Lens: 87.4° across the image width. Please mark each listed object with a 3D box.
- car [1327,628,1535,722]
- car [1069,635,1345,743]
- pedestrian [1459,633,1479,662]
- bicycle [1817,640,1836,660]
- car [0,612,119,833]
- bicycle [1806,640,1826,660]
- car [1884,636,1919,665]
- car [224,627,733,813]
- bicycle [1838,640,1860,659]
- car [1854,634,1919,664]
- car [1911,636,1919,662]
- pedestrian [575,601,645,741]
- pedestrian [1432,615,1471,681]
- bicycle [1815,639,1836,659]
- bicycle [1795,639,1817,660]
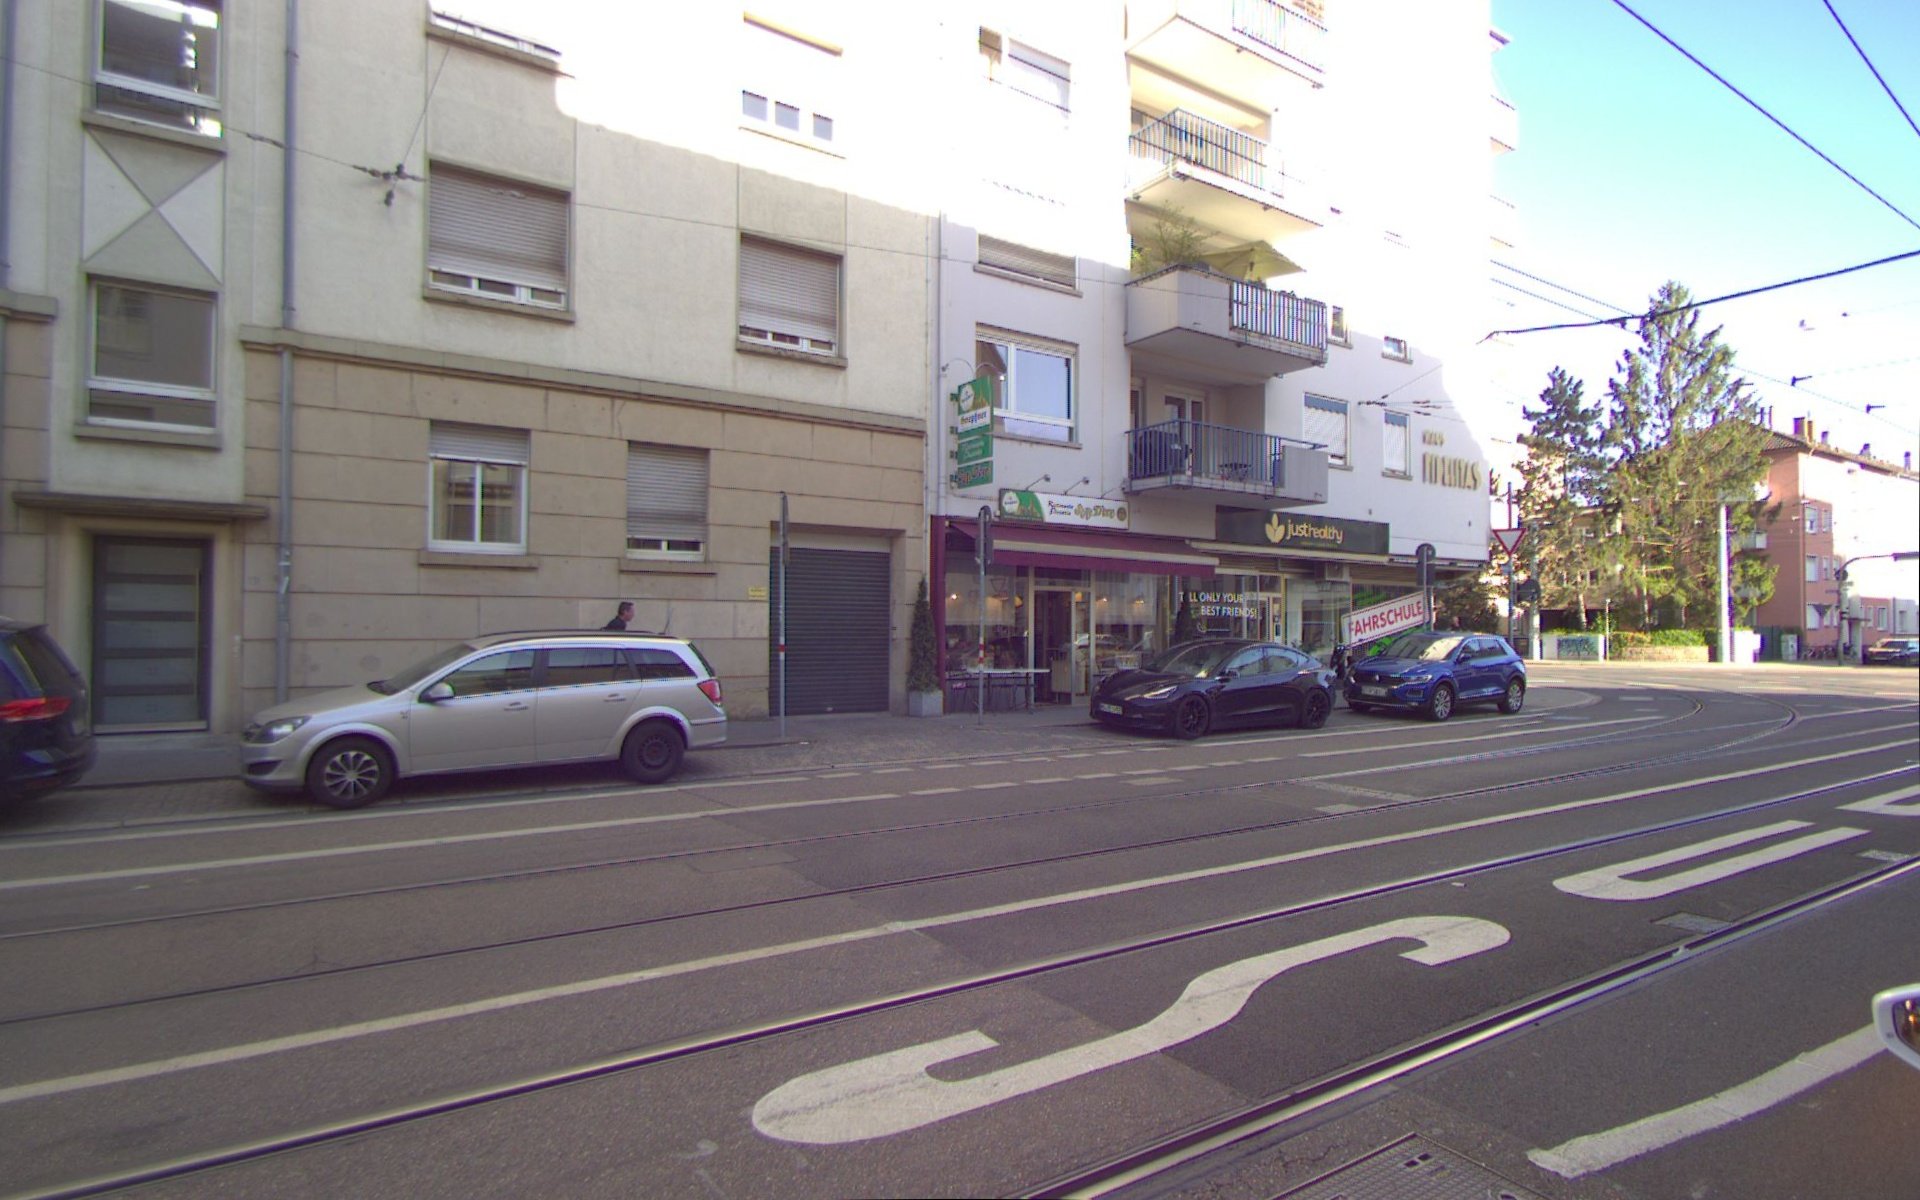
[{"bbox_3d":[8.990,1.345,19.082,4.072,1.525,1.714,1,1,-34],"label":"car"},{"bbox_3d":[4.011,1.315,16.039,4.442,1.422,1.714,1,1,-34],"label":"car"},{"bbox_3d":[30.265,2.813,59.693,0.672,1.725,0.805,1,-2,-30],"label":"pedestrian"},{"bbox_3d":[47.604,2.748,55.164,1.895,1.097,0.532,2,-2,-41],"label":"bicycle"},{"bbox_3d":[-8.995,0.879,7.188,4.343,1.620,1.785,1,-1,-34],"label":"car"},{"bbox_3d":[47.176,2.736,55.339,1.895,1.097,0.532,2,-2,-41],"label":"bicycle"},{"bbox_3d":[54.271,2.842,57.012,4.006,1.539,1.938,1,-2,-36],"label":"car"},{"bbox_3d":[-4.708,1.048,10.210,4.343,1.497,1.785,1,-1,-34],"label":"car"},{"bbox_3d":[53.155,2.940,60.025,1.892,1.097,0.605,1,-2,-37],"label":"bicycle"},{"bbox_3d":[49.723,2.618,53.782,3.961,1.539,1.938,1,-2,-36],"label":"car"},{"bbox_3d":[58.125,2.899,59.451,3.961,1.539,1.938,1,-2,-36],"label":"car"},{"bbox_3d":[-4.467,0.887,12.819,0.722,1.731,0.600,1,-2,-32],"label":"pedestrian"},{"bbox_3d":[14.009,1.352,28.669,0.707,1.859,0.771,0,-1,-3],"label":"pedestrian"},{"bbox_3d":[50.739,2.862,58.880,1.892,1.097,0.533,1,-2,-37],"label":"bicycle"},{"bbox_3d":[46.881,2.726,55.631,1.895,1.097,0.634,2,-2,-41],"label":"bicycle"}]
